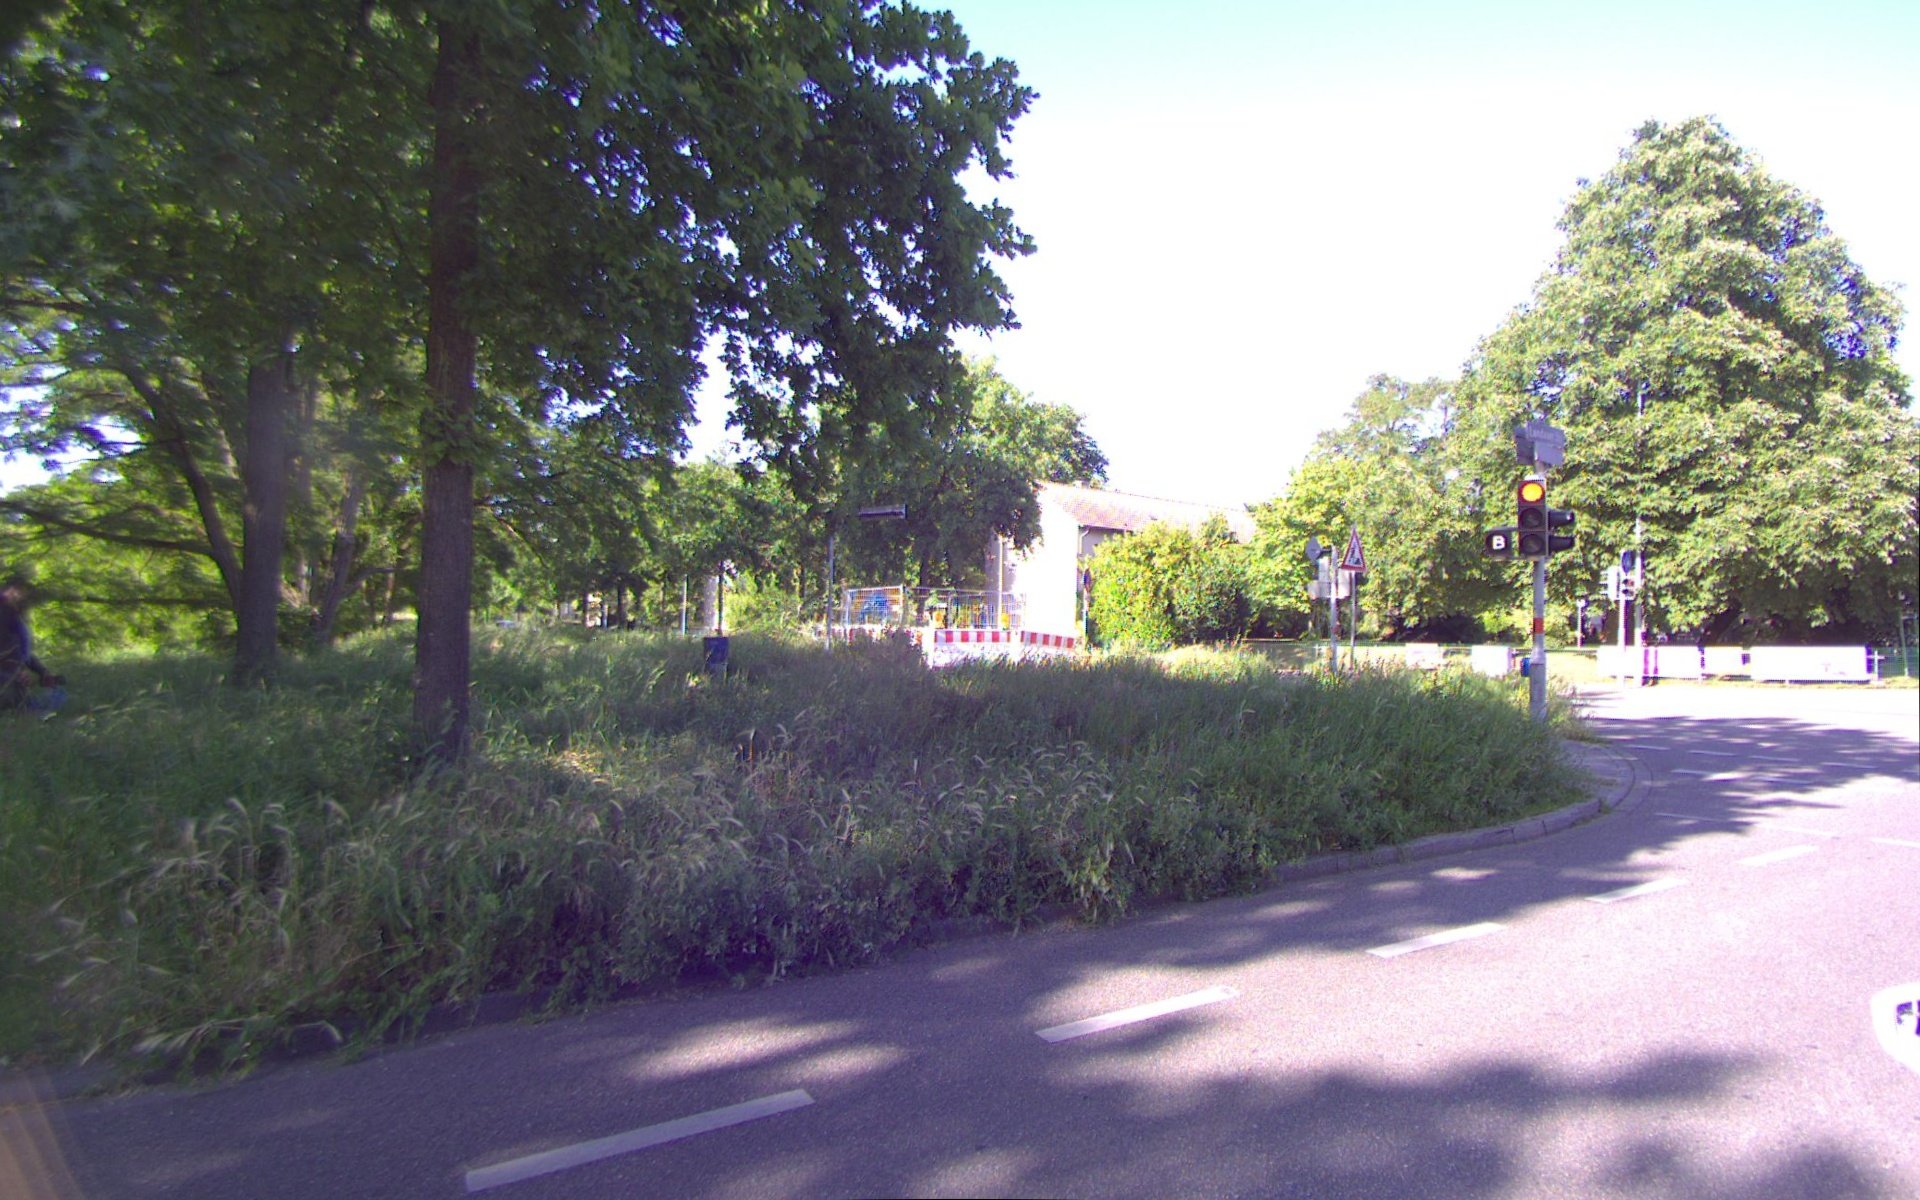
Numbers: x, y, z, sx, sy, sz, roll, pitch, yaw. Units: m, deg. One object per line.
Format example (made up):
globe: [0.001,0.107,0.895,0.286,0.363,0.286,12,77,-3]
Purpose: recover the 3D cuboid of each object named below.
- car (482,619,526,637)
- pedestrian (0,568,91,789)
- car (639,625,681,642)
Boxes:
car: [-47.392,2.883,104.485,3.939,1.673,1.991,2,0,-20]
pedestrian: [-7.726,0.602,8.109,0.880,1.710,0.909,1,0,-29]
car: [-26.711,2.988,89.241,1.983,1.449,4.690,2,-3,-39]
